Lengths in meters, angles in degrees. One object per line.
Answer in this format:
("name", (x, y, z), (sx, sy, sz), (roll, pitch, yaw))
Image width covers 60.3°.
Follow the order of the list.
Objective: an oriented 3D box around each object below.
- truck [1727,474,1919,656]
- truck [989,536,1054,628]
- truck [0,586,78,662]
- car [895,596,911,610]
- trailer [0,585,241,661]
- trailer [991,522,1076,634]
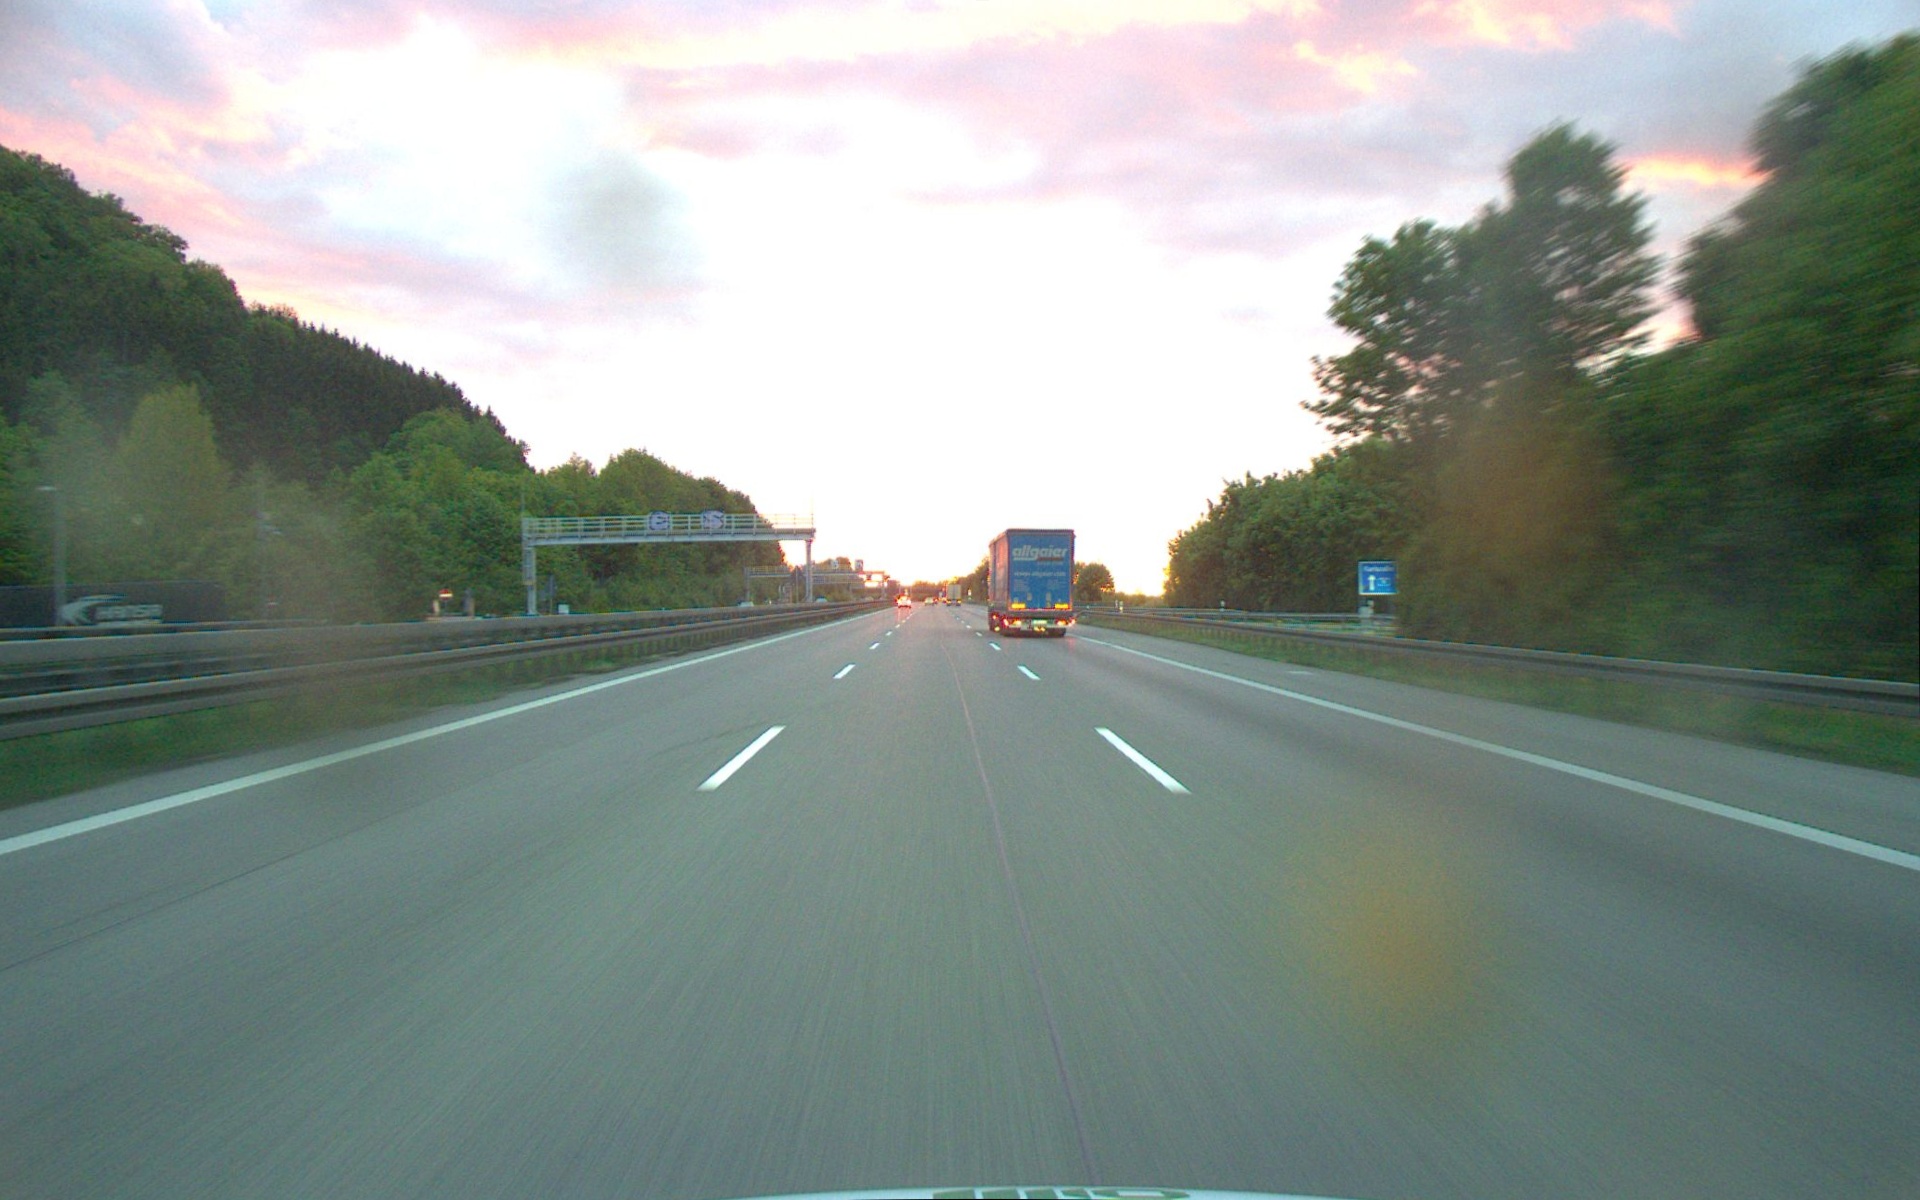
("truck", (22.214, -0.785, 37.470), (2.785, 3.984, 11.969), (-1, 0, -7))
("truck", (2.762, -0.785, 75.977), (2.681, 4.066, 5.848), (0, 0, -1))
("truck", (-48.570, 1.162, 82.612), (2.947, 3.743, 7.665), (0, 0, 29))
("car", (-7.819, 0.463, 226.761), (1.973, 1.780, 3.902), (-4, 0, -2))
("trailer", (-45.252, 1.106, 88.607), (3.003, 3.743, 13.321), (0, 0, 29))
("trailer", (2.876, -0.802, 68.964), (2.715, 4.158, 13.736), (0, 0, -1))
